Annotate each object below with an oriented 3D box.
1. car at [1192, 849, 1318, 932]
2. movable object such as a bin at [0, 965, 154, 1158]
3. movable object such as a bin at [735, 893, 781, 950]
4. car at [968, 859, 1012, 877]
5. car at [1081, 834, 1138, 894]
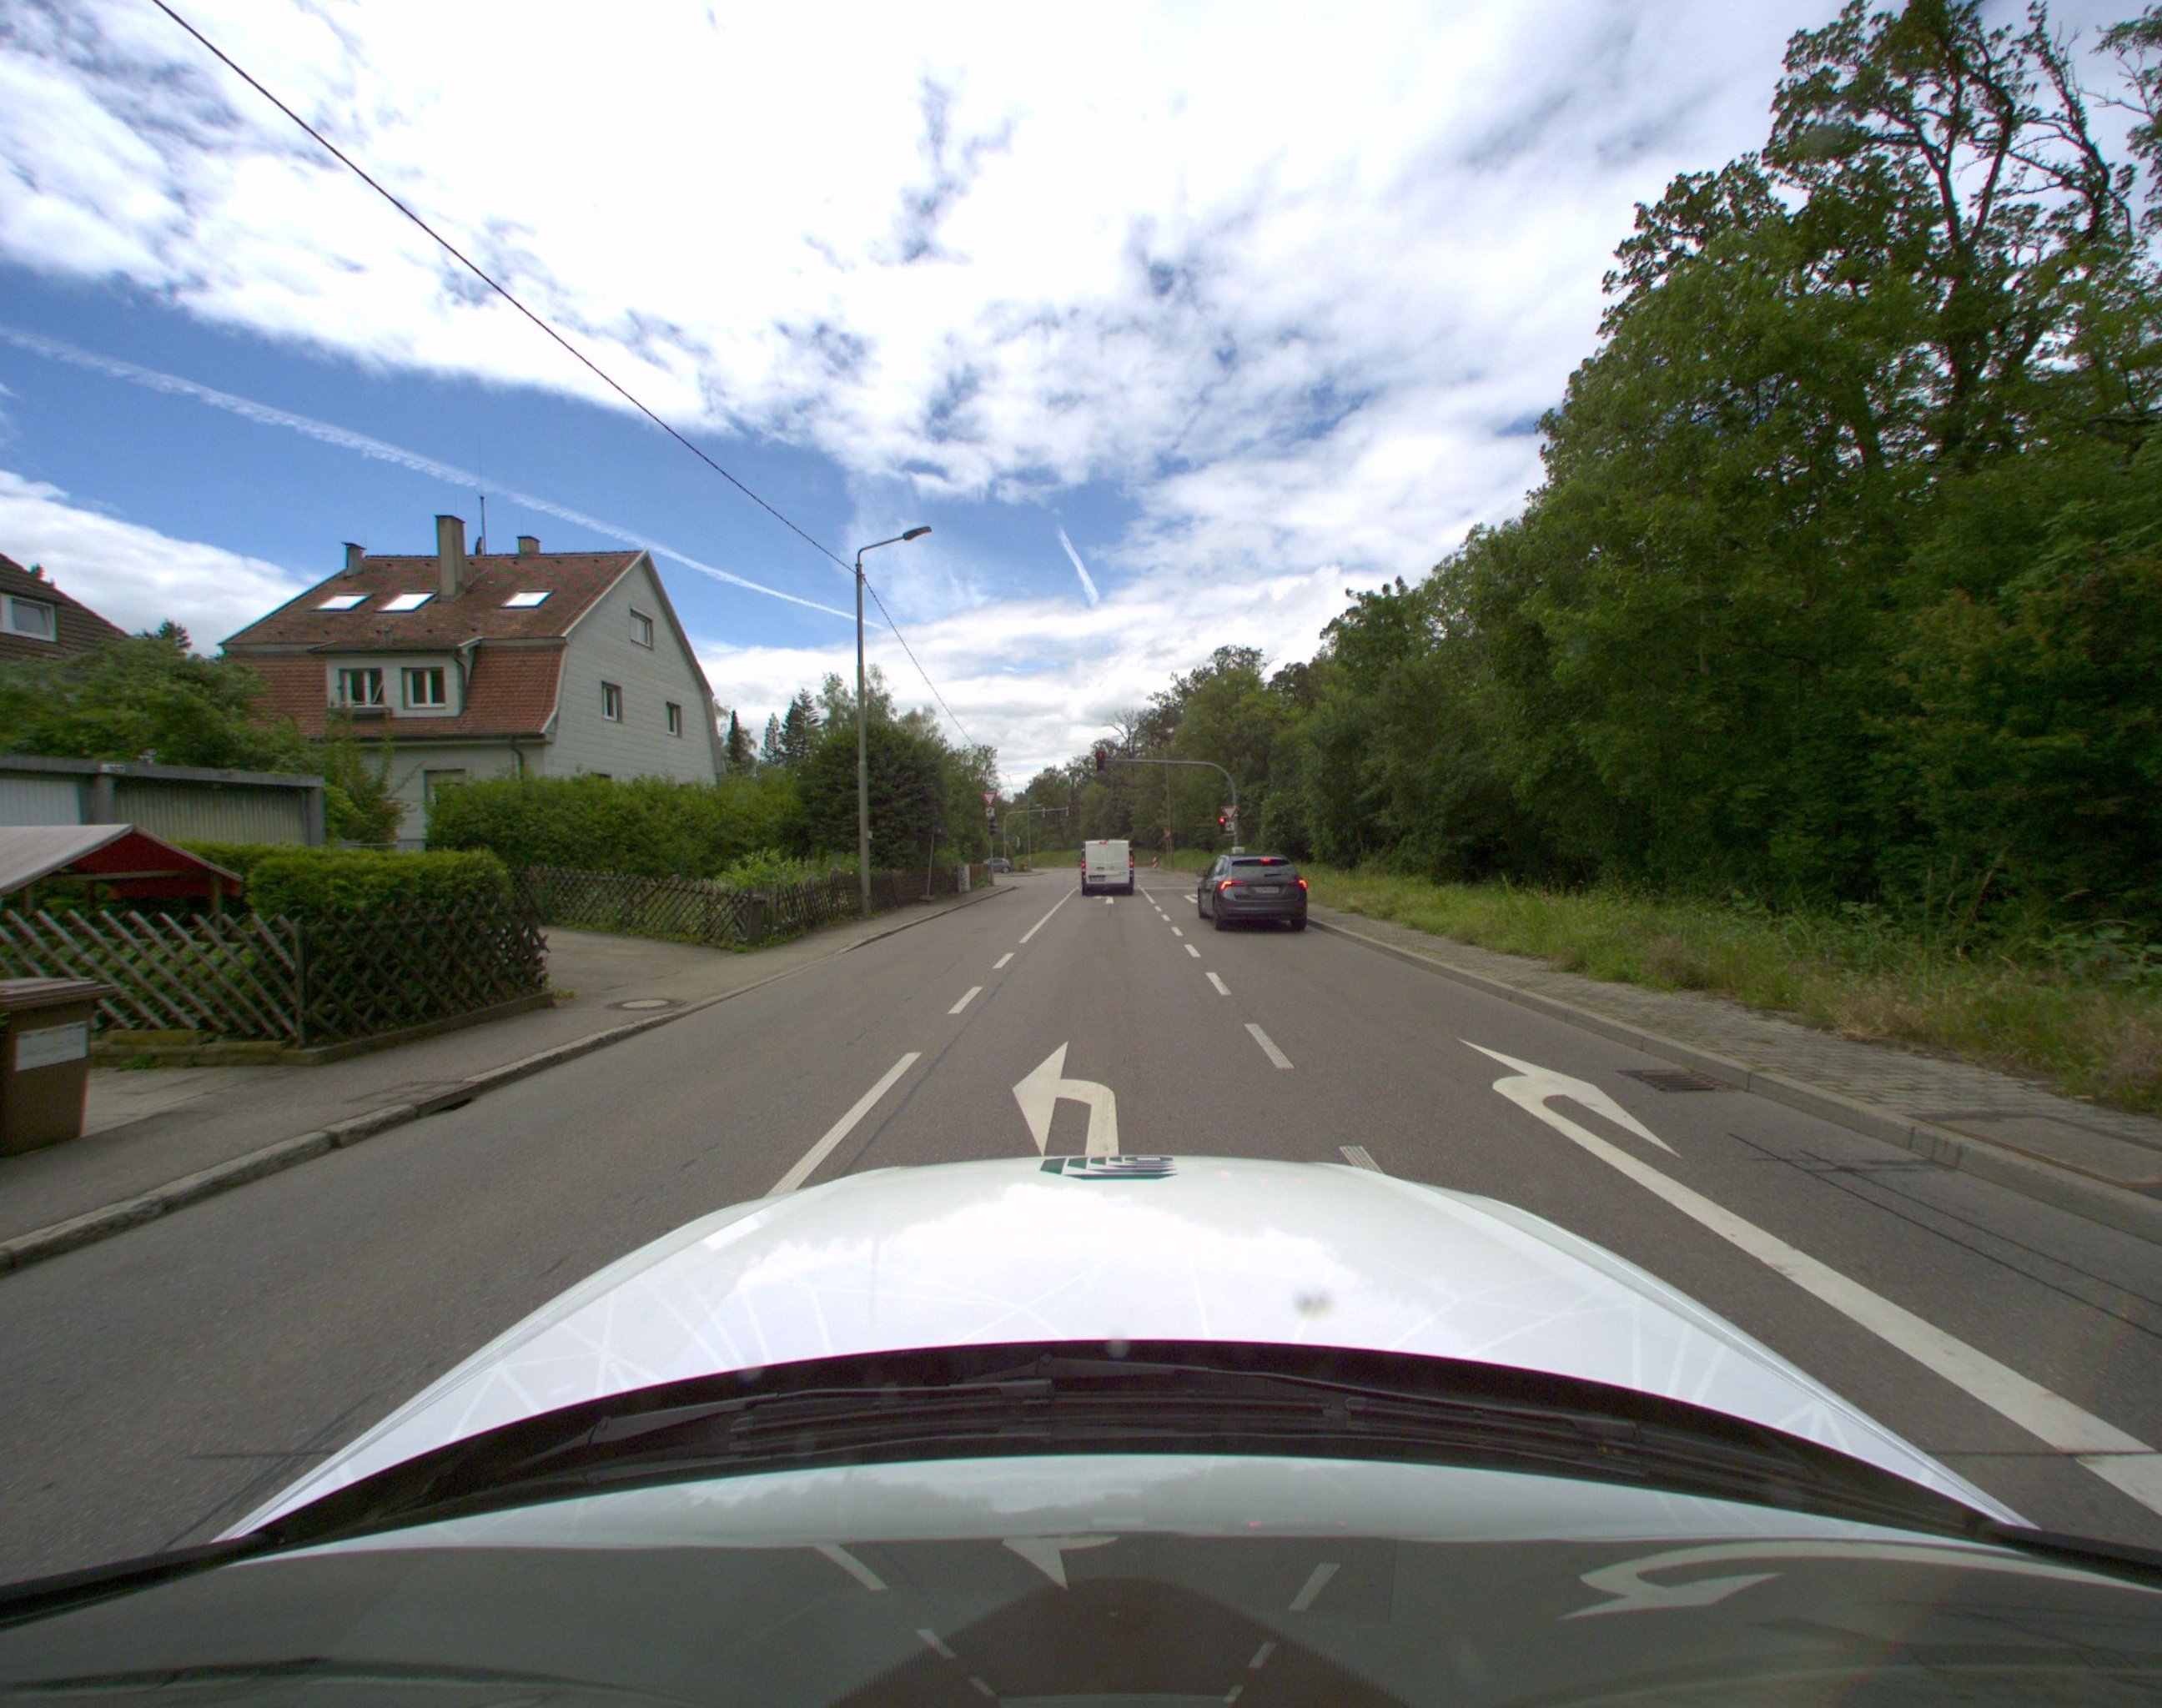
[{"bbox_3d":[3.411,0.655,16.711,1.786,1.450,4.001,-1,0,1],"label":"car"},{"bbox_3d":[-5.893,1.144,4.646,0.628,0.913,0.562,1,0,14],"label":"movable object such as a bin"},{"bbox_3d":[-5.565,1.156,14.053,0.548,0.938,0.538,-1,0,3],"label":"movable object such as a bin"},{"bbox_3d":[-9.059,1.378,80.645,4.093,1.553,1.845,-1,0,-15],"label":"car"},{"bbox_3d":[0.997,0.346,30.401,1.910,2.053,4.613,-1,0,0],"label":"car"}]
